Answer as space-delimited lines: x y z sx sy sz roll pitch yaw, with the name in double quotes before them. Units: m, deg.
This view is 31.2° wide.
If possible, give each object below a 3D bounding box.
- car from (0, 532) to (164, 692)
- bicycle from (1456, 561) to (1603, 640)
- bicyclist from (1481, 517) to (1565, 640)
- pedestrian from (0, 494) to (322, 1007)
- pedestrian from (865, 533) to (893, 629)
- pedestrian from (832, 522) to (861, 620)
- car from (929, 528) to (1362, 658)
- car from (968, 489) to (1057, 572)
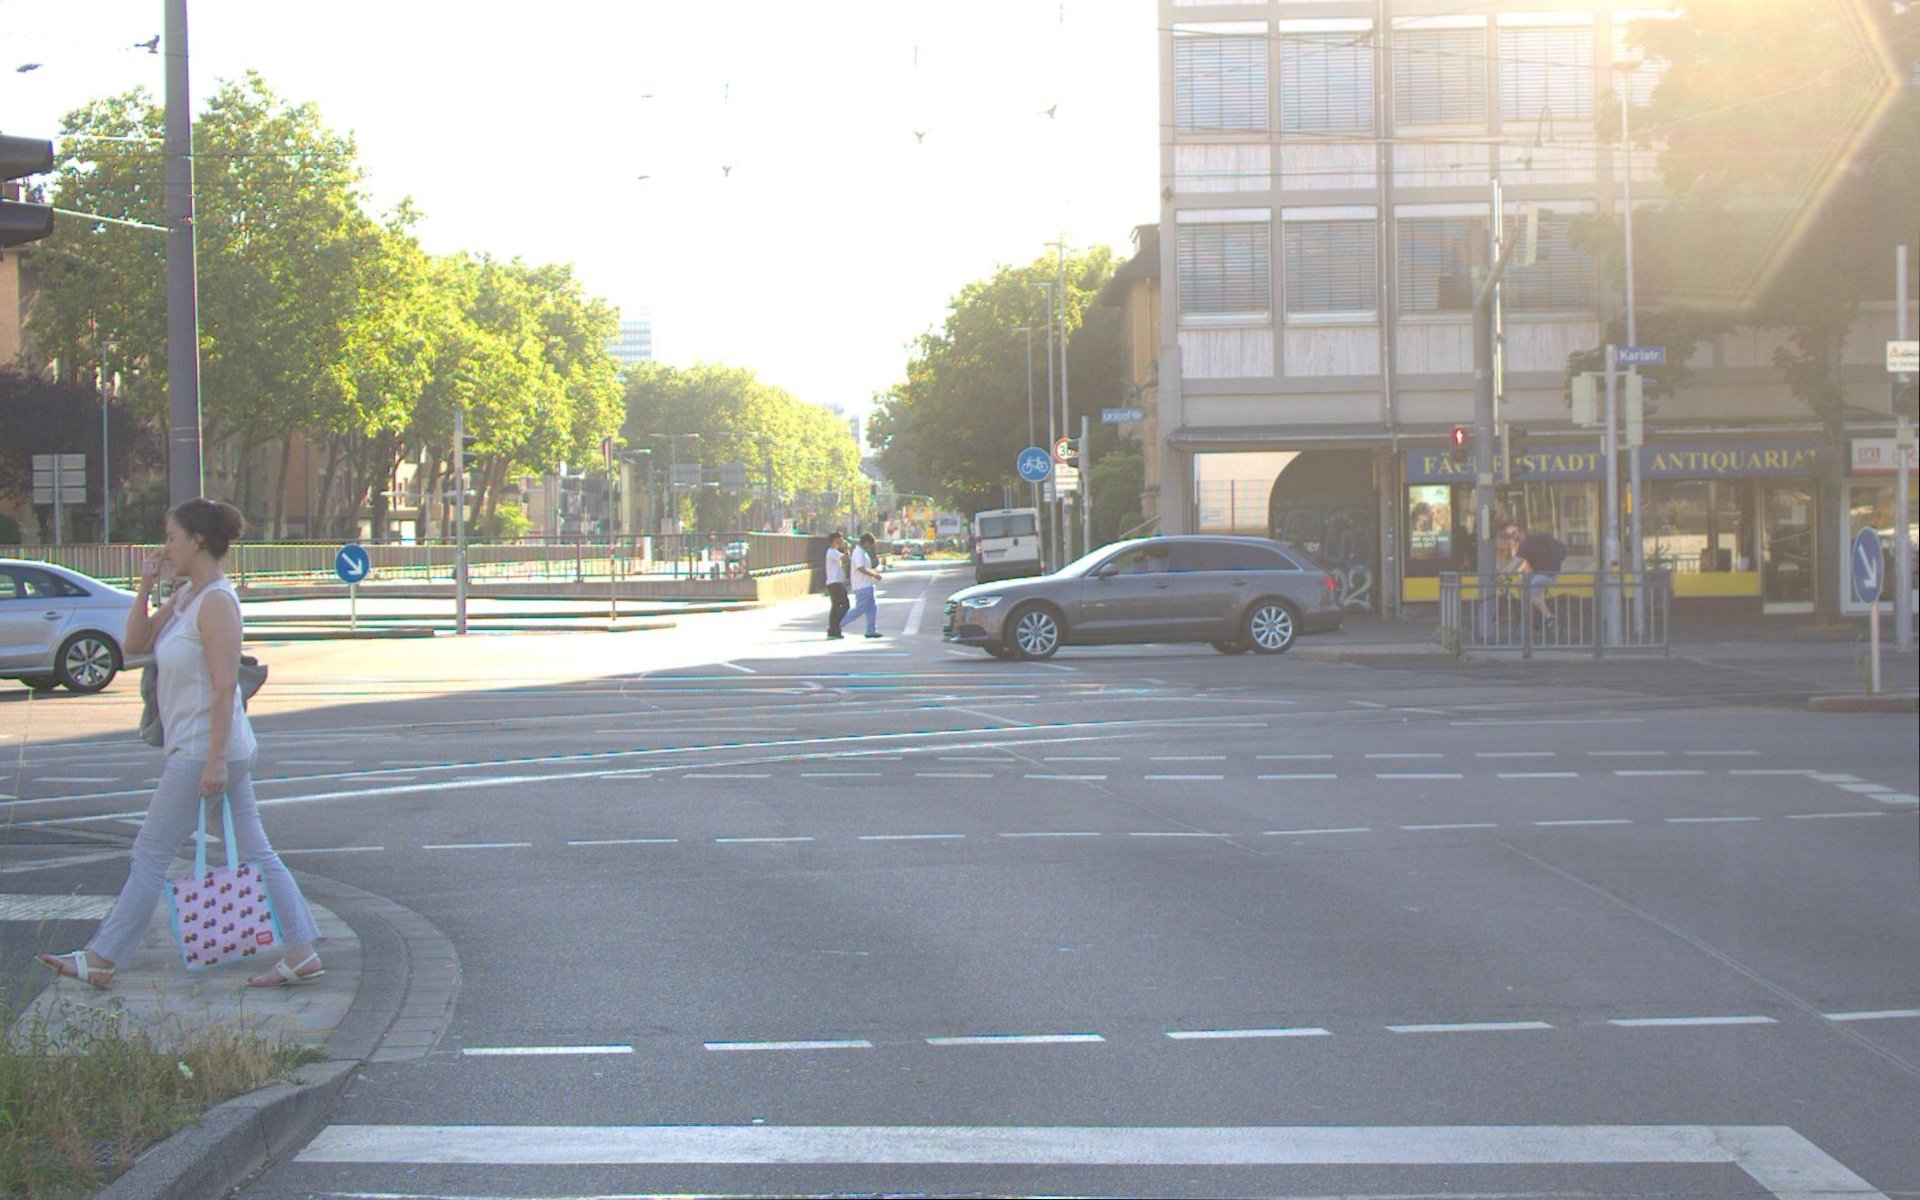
"car" -10.648 0.142 35.377 4.332 1.590 2.000 -2 1 -33
"bicycle" 8.174 0.001 49.389 1.972 1.094 0.677 -1 1 -4
"bicyclist" 8.085 -0.315 49.377 1.040 1.733 0.678 -1 1 -4
"pedestrian" -2.575 0.465 11.092 0.878 1.592 0.655 -1 1 0
"pedestrian" -1.289 -0.302 54.611 0.365 1.502 0.543 -1 1 -7
"pedestrian" -1.761 -0.448 53.206 0.365 1.502 0.543 -1 1 -7
"car" 2.229 -0.107 41.888 4.918 1.473 2.001 -1 1 -10
"car" 1.581 -2.127 106.229 2.486 2.384 5.935 -2 1 -1
